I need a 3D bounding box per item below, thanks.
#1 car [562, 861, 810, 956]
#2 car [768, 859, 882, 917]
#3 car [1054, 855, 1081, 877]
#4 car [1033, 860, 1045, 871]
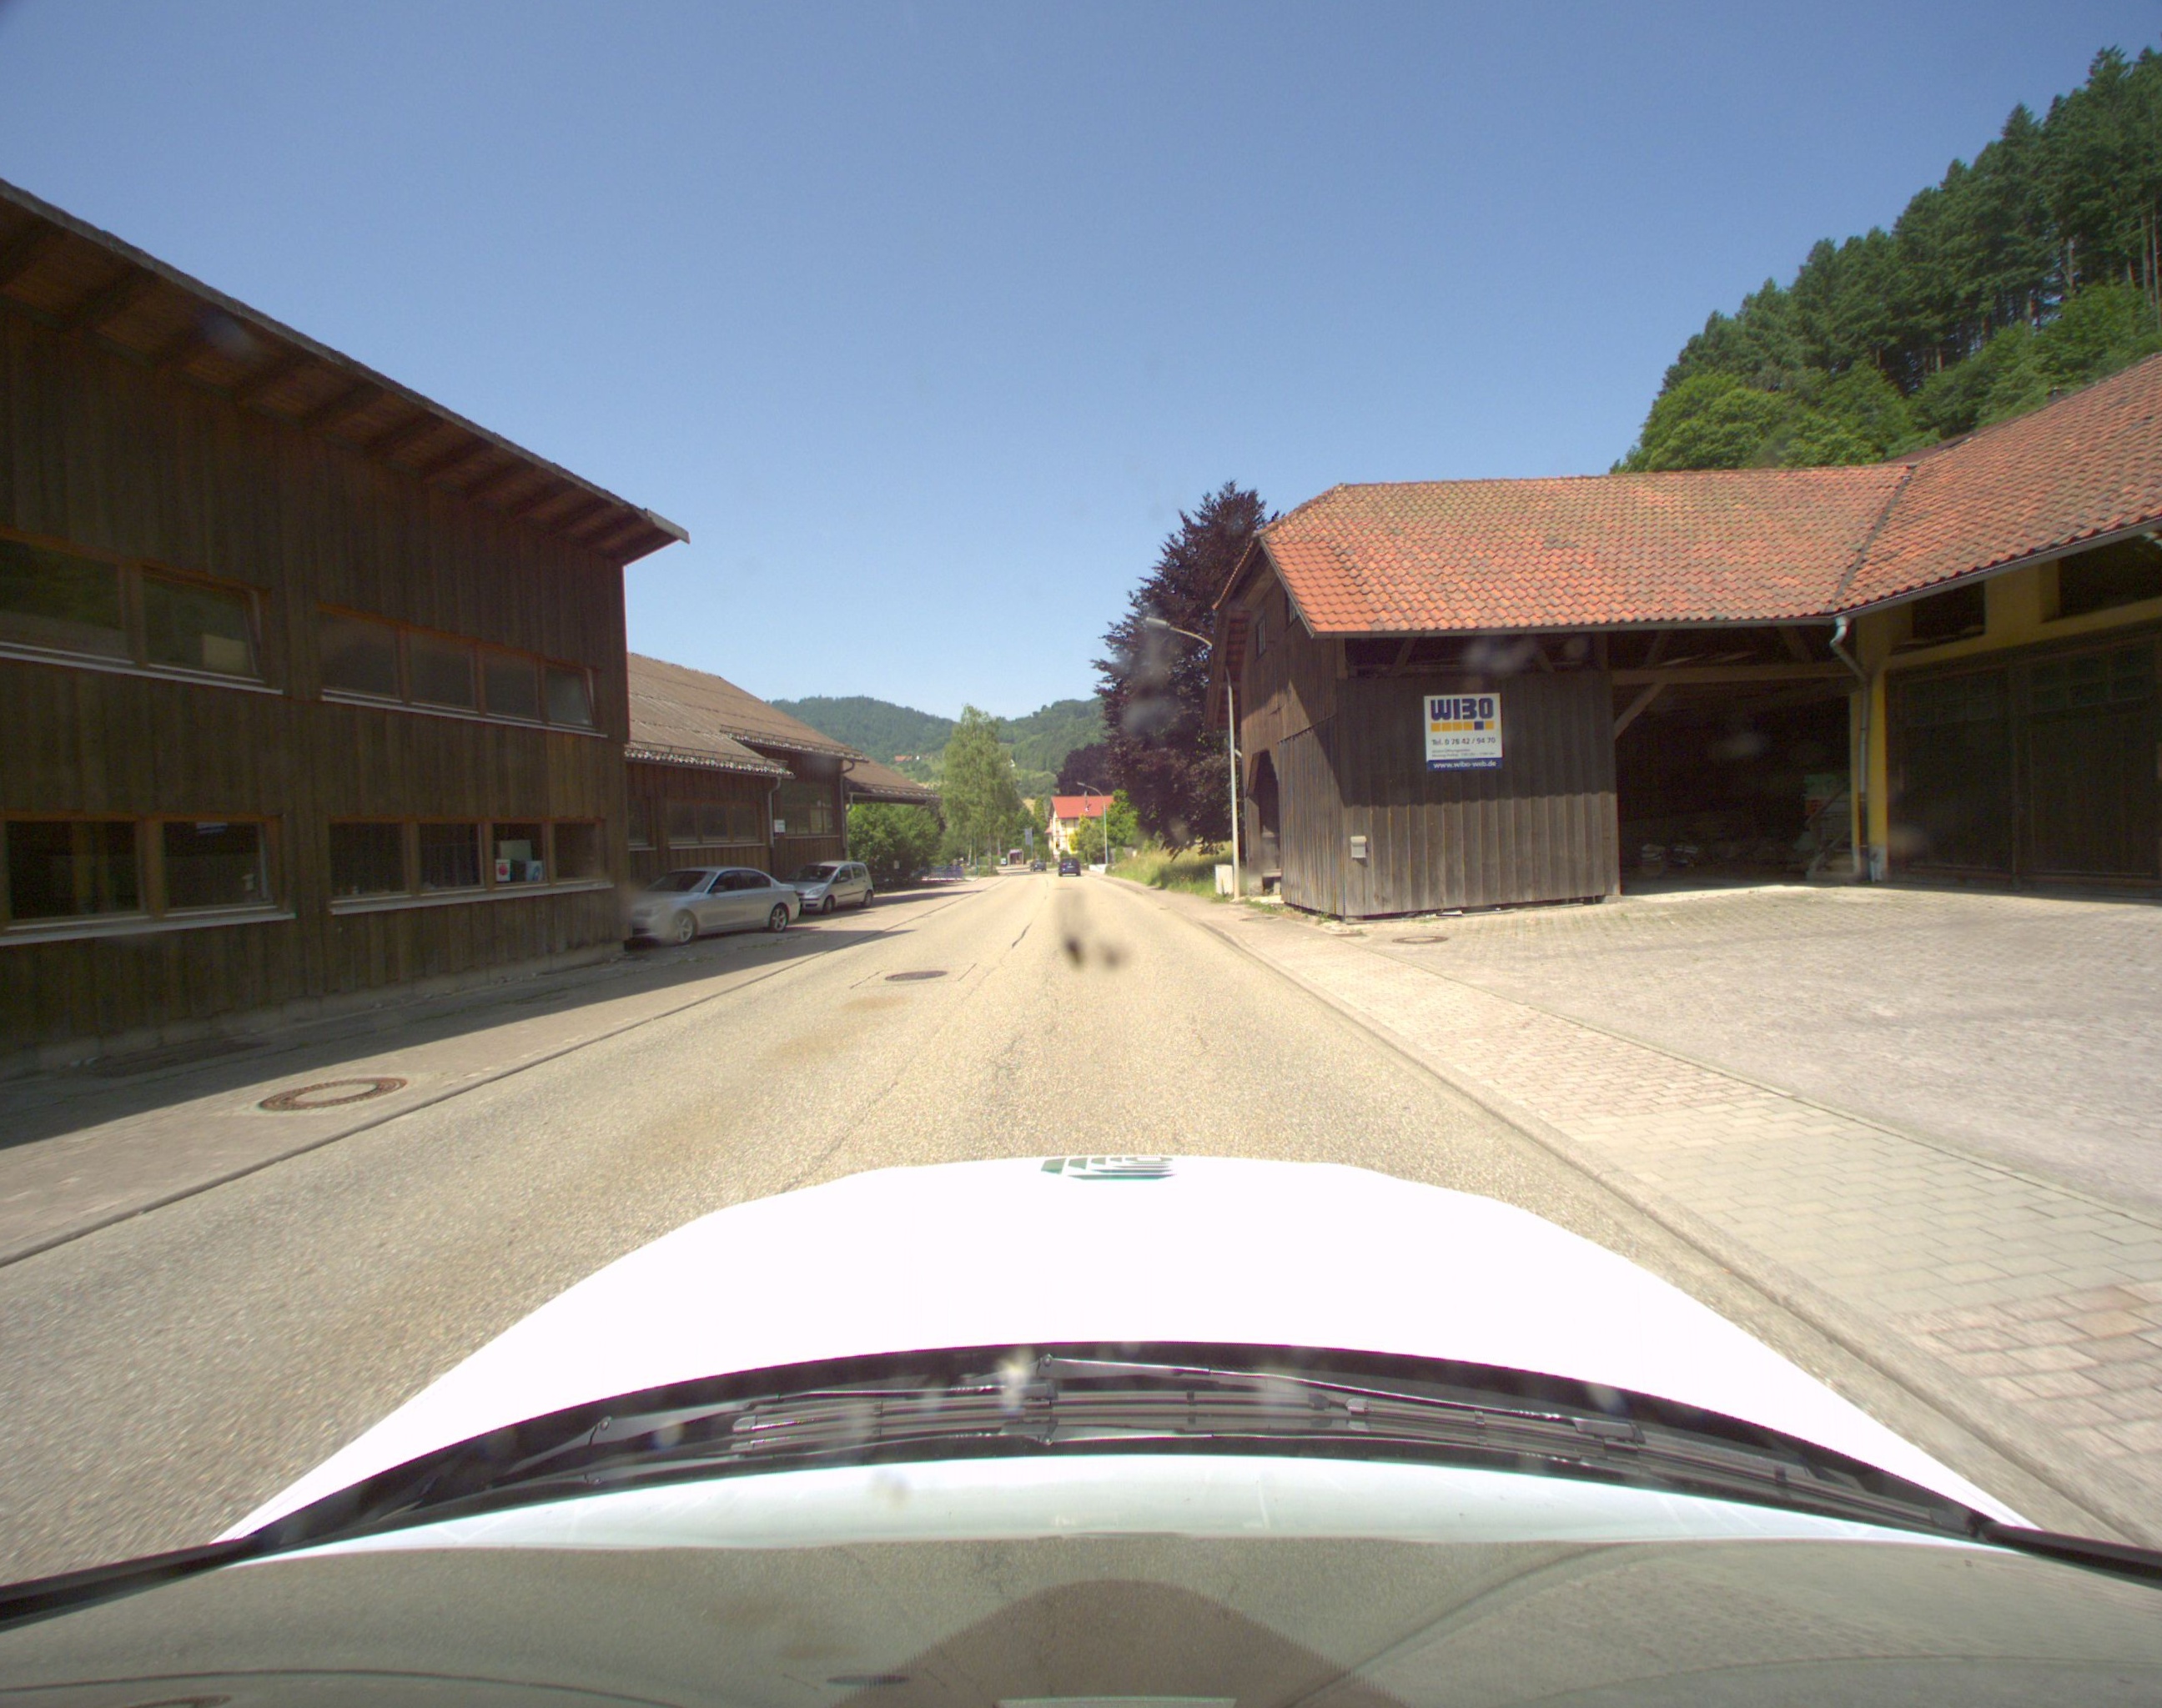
[{"bbox_3d":[-7.693,0.987,16.525,1.716,1.454,4.824,-2,1,15],"label":"car"},{"bbox_3d":[-7.938,1.003,25.692,1.570,1.570,4.037,1,1,13],"label":"car"},{"bbox_3d":[-1.199,1.022,70.310,1.917,1.698,3.780,-3,0,-6],"label":"car"},{"bbox_3d":[-5.488,1.491,105.641,1.474,1.209,2.381,-3,0,-3],"label":"car"}]
